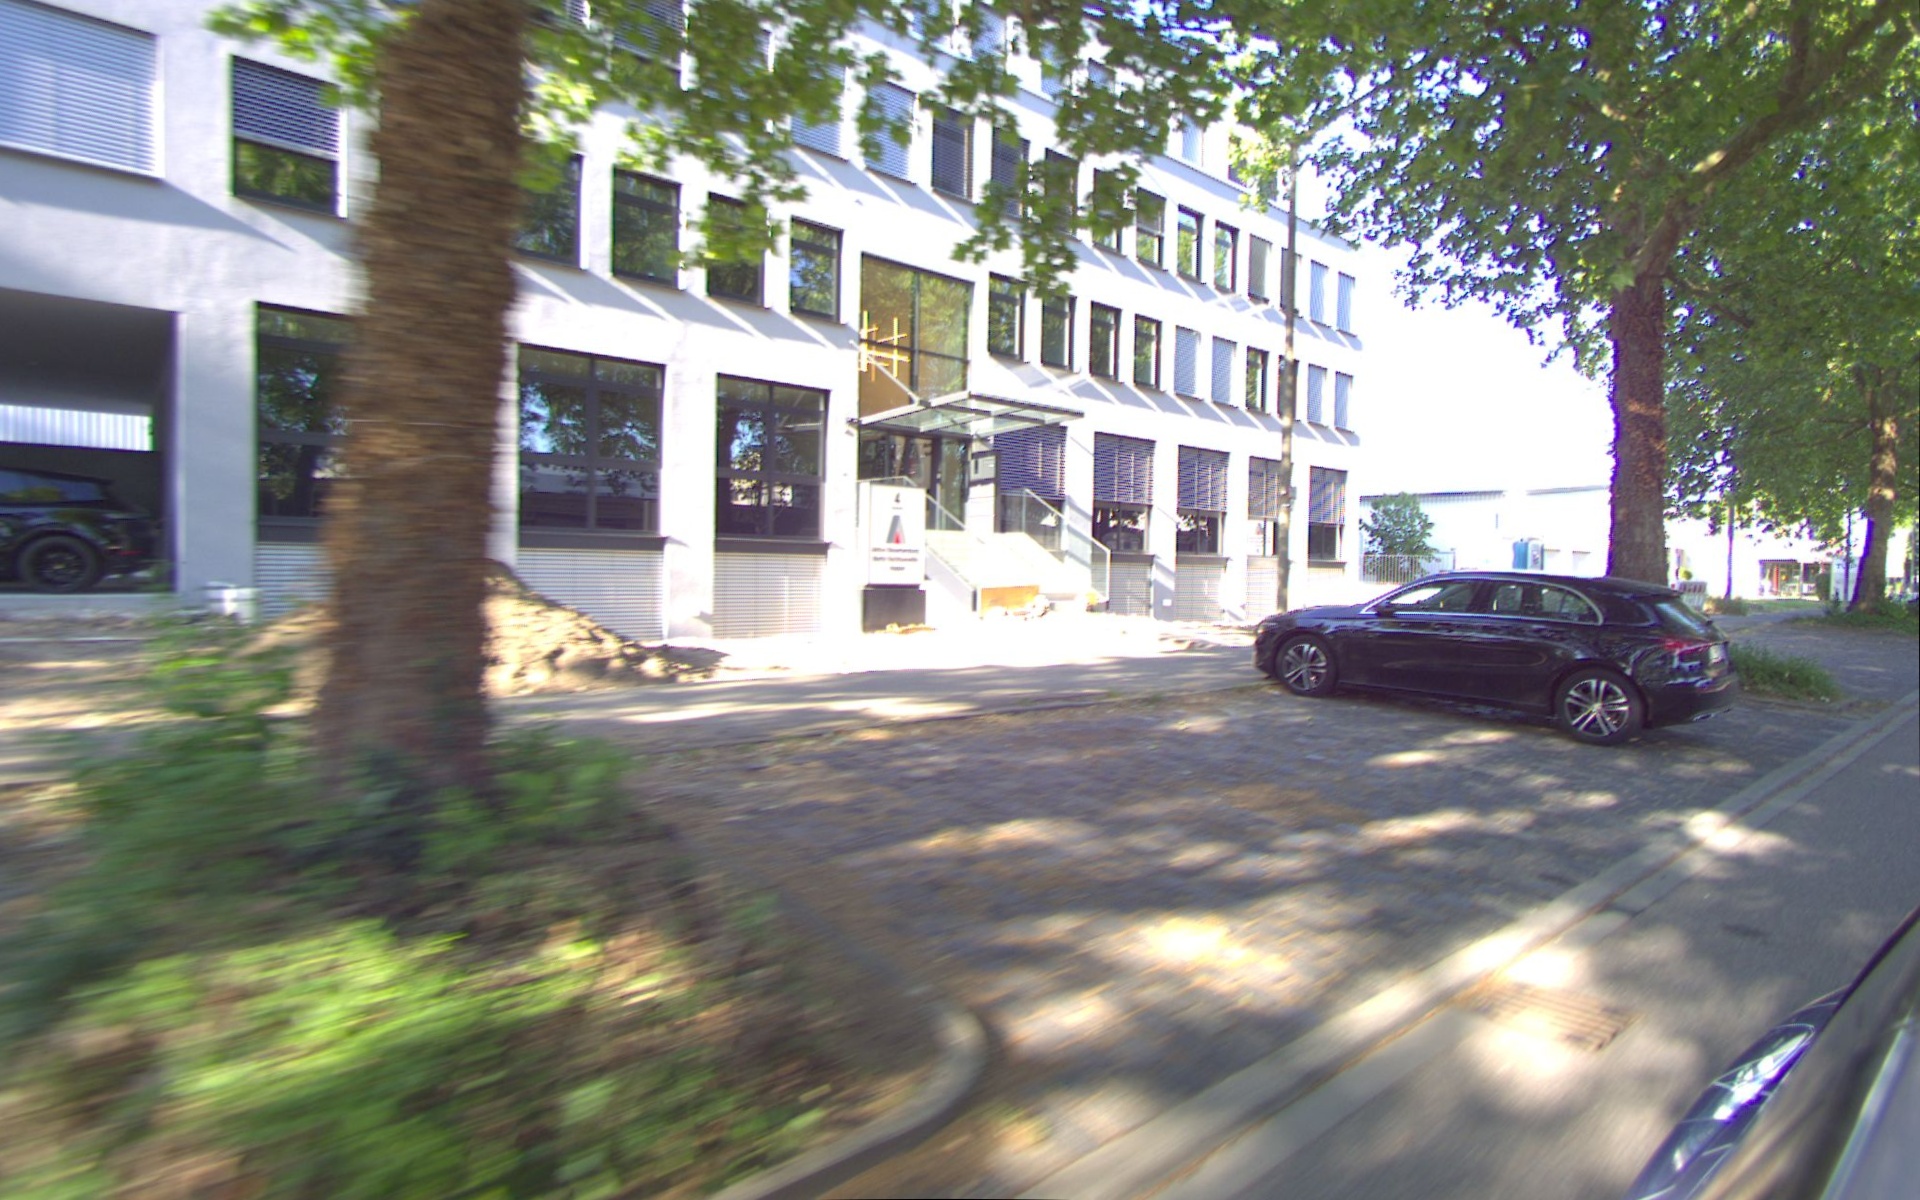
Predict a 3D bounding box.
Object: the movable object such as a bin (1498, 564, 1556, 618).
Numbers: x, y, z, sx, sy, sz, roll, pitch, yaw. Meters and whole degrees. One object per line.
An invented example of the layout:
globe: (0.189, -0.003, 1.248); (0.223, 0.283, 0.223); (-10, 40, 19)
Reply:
movable object such as a bin: (13.855, -0.225, 24.719); (1.583, 1.279, 0.749); (-1, 1, -41)

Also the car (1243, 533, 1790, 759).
car: (5.217, 0.234, 9.999); (1.829, 1.503, 4.294); (-1, 7, -42)

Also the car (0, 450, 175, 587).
car: (-13.369, -1.053, 13.405); (4.581, 1.753, 2.000); (-1, 1, -36)

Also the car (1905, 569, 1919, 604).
car: (44.189, -0.474, 44.284); (1.638, 1.531, 3.944); (-1, 5, -40)

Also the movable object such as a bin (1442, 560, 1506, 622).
movable object such as a bin: (11.761, -0.221, 23.137); (1.592, 1.367, 0.749); (-1, 1, -41)
